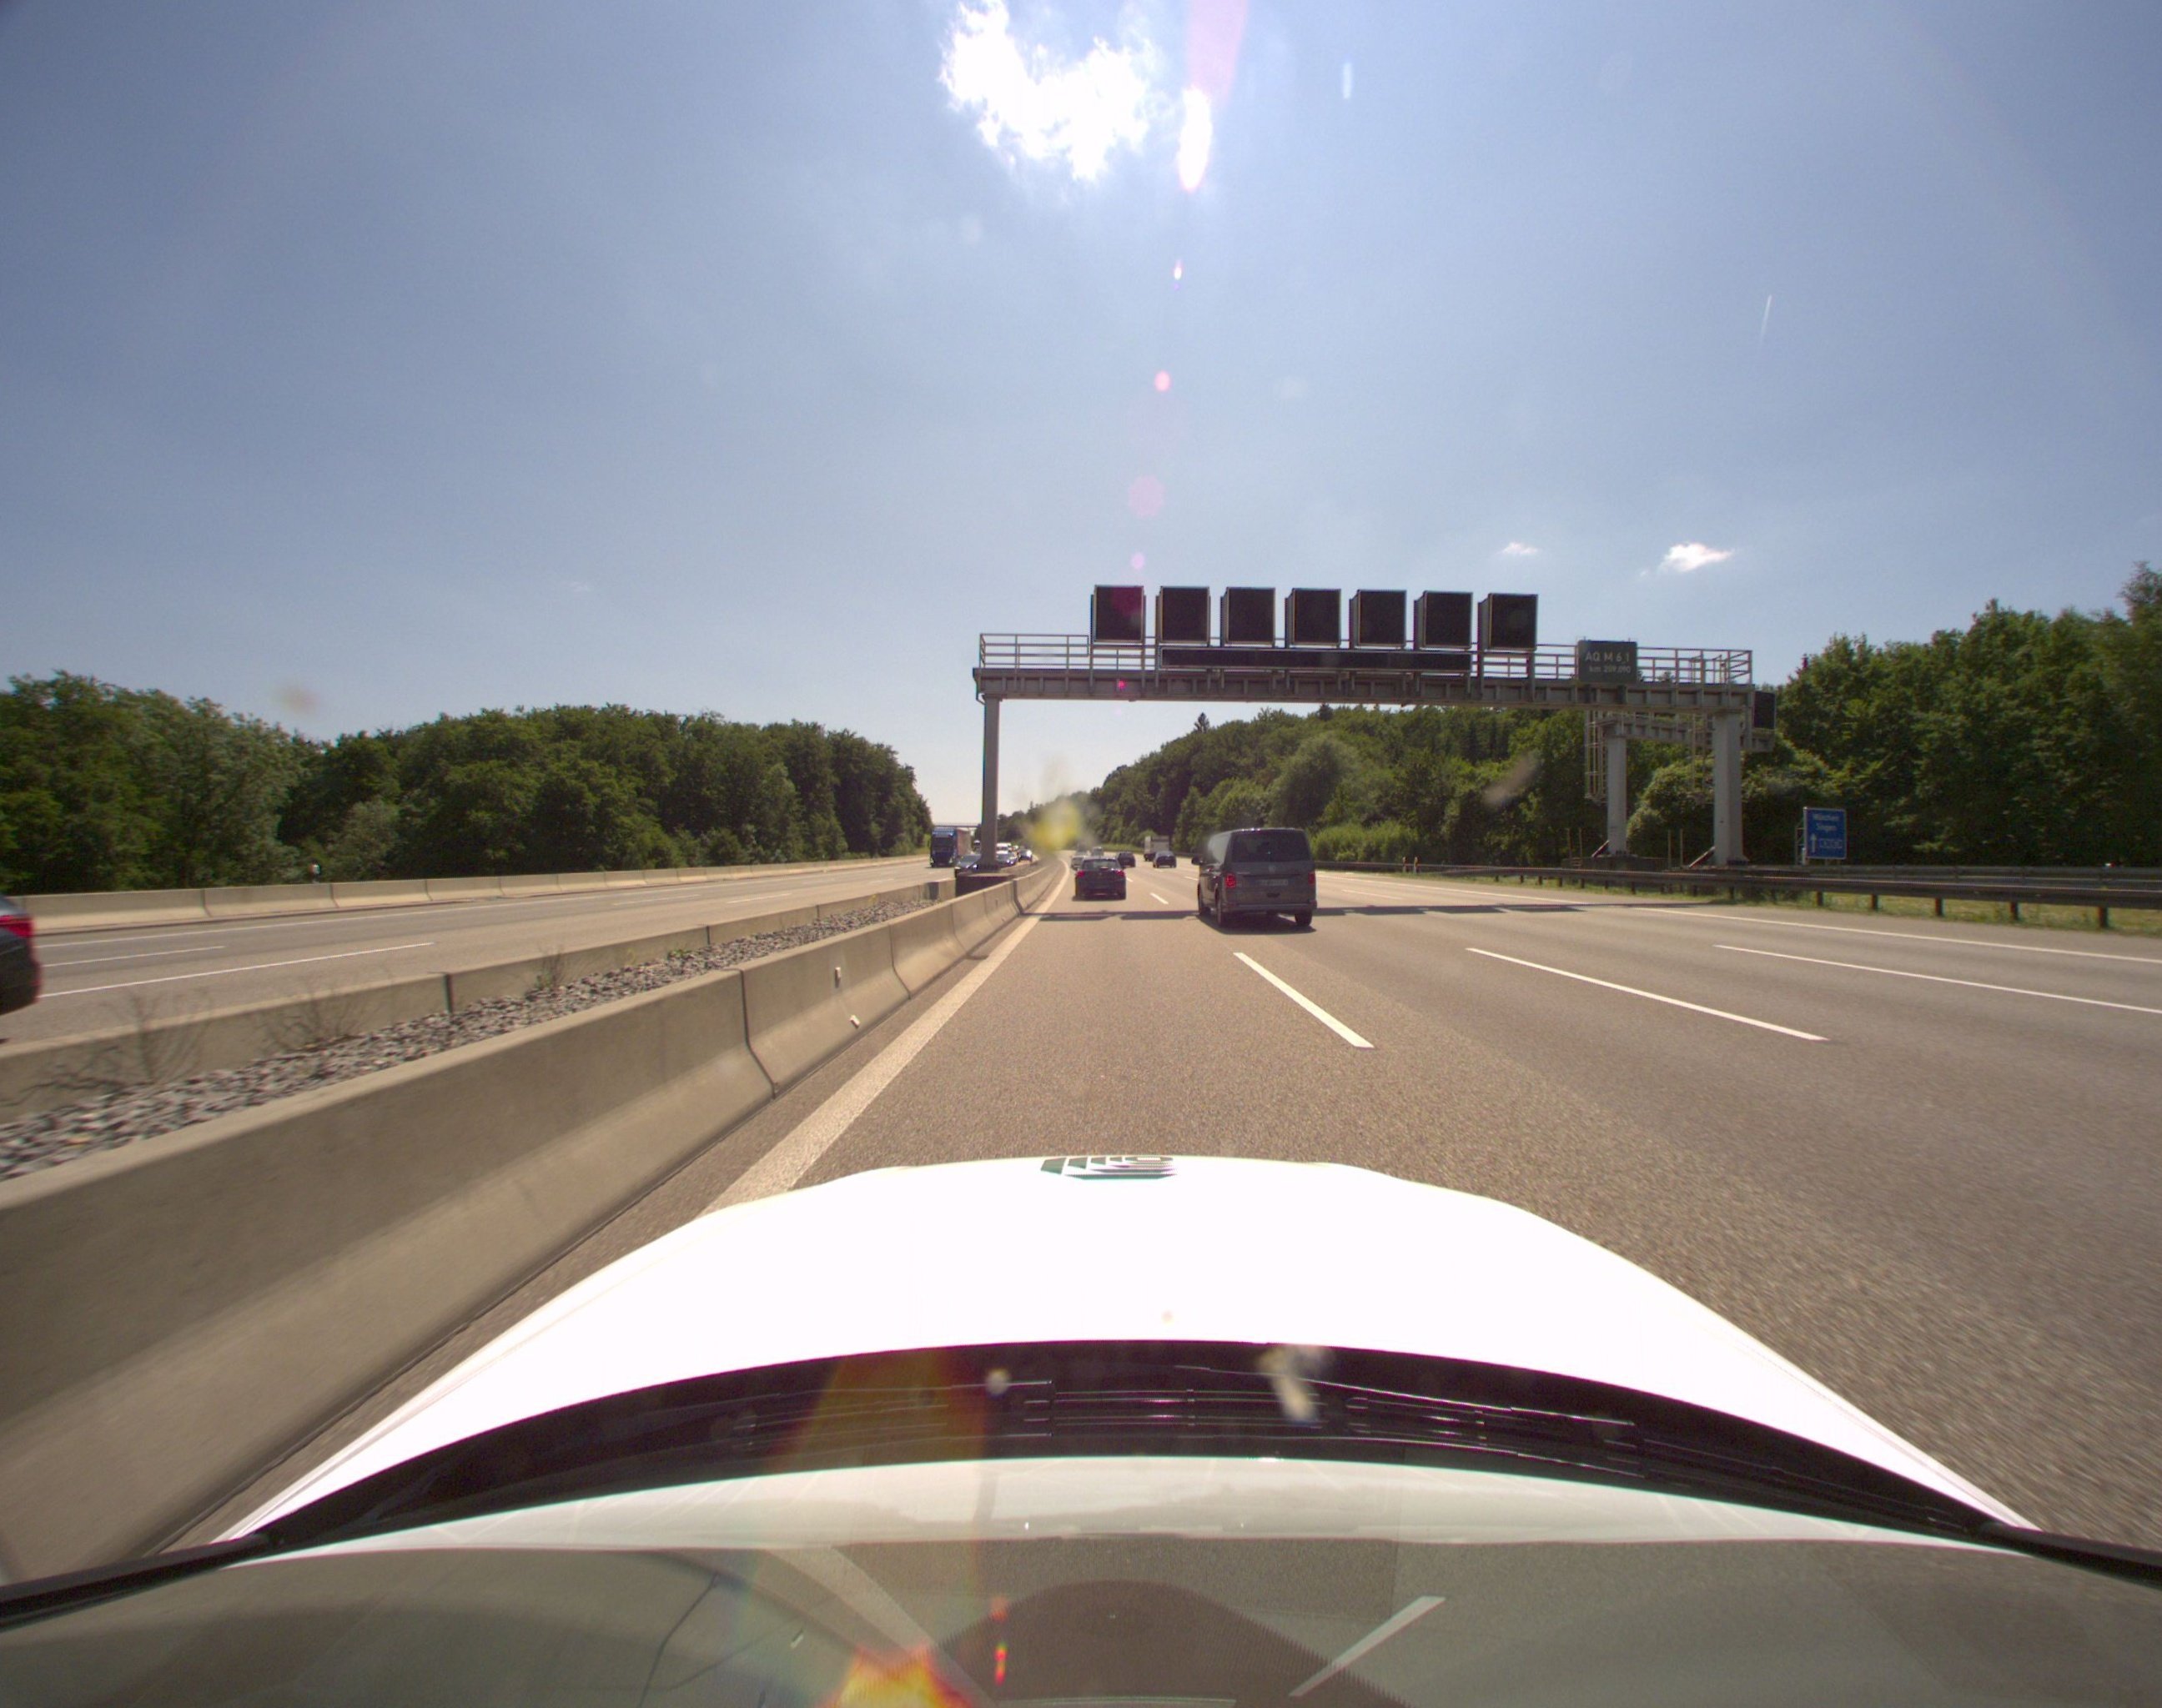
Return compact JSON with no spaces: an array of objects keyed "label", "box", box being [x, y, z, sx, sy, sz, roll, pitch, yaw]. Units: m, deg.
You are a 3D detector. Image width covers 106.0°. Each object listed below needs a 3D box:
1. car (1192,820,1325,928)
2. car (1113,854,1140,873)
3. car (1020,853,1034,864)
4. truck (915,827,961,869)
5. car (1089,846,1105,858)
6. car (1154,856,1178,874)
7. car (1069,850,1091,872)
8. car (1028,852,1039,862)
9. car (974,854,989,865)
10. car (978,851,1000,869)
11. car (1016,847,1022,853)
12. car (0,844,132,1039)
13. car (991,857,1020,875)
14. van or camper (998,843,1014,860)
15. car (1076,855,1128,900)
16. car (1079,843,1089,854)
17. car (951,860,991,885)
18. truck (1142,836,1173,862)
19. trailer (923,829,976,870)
[{"label":"car","box":[3.708,0.384,17.958,1.955,2.033,5.085,-1,0,2]},{"label":"car","box":[4.147,0.888,74.830,1.989,1.728,4.144,-1,-1,-3]},{"label":"car","box":[-7.182,0.582,107.904,1.636,1.350,3.998,0,0,-1]},{"label":"truck","box":[-14.623,-0.563,83.911,3.775,4.177,5.876,0,0,-1]},{"label":"car","box":[2.329,-0.274,120.851,2.098,1.744,4.684,-1,1,-2]},{"label":"car","box":[7.455,0.944,71.812,1.659,1.408,4.904,0,1,1]},{"label":"car","box":[-0.063,0.696,76.984,2.006,1.846,3.999,-1,-3,0]},{"label":"car","box":[-10.068,0.689,172.118,2.230,2.014,4.226,-2,-1,-2]},{"label":"car","box":[-15.983,0.850,131.027,1.989,1.762,5.064,-1,0,-2]},{"label":"car","box":[-10.377,0.638,92.343,1.987,1.967,4.782,-1,0,0]},{"label":"car","box":[-19.360,-1.239,252.598,1.816,1.871,4.581,-1,0,-5]},{"label":"car","box":[-9.950,0.764,5.424,1.748,1.635,4.639,-1,1,1]},{"label":"car","box":[-6.583,1.022,71.377,1.950,1.518,5.133,-1,0,1]},{"label":"van or camper","box":[-11.623,-0.363,126.855,2.094,2.566,6.396,-1,0,-1]},{"label":"car","box":[0.710,0.752,28.298,1.702,1.433,4.001,0,0,1]},{"label":"car","box":[0.725,-1.327,192.712,2.258,2.371,4.701,-1,0,0]},{"label":"car","box":[-7.056,1.165,52.677,1.847,1.518,4.522,-1,-1,1]},{"label":"truck","box":[9.771,-0.678,104.938,2.978,3.166,7.569,-1,1,-2]},{"label":"trailer","box":[-14.756,-0.456,92.798,3.824,4.280,14.470,0,0,-1]}]
